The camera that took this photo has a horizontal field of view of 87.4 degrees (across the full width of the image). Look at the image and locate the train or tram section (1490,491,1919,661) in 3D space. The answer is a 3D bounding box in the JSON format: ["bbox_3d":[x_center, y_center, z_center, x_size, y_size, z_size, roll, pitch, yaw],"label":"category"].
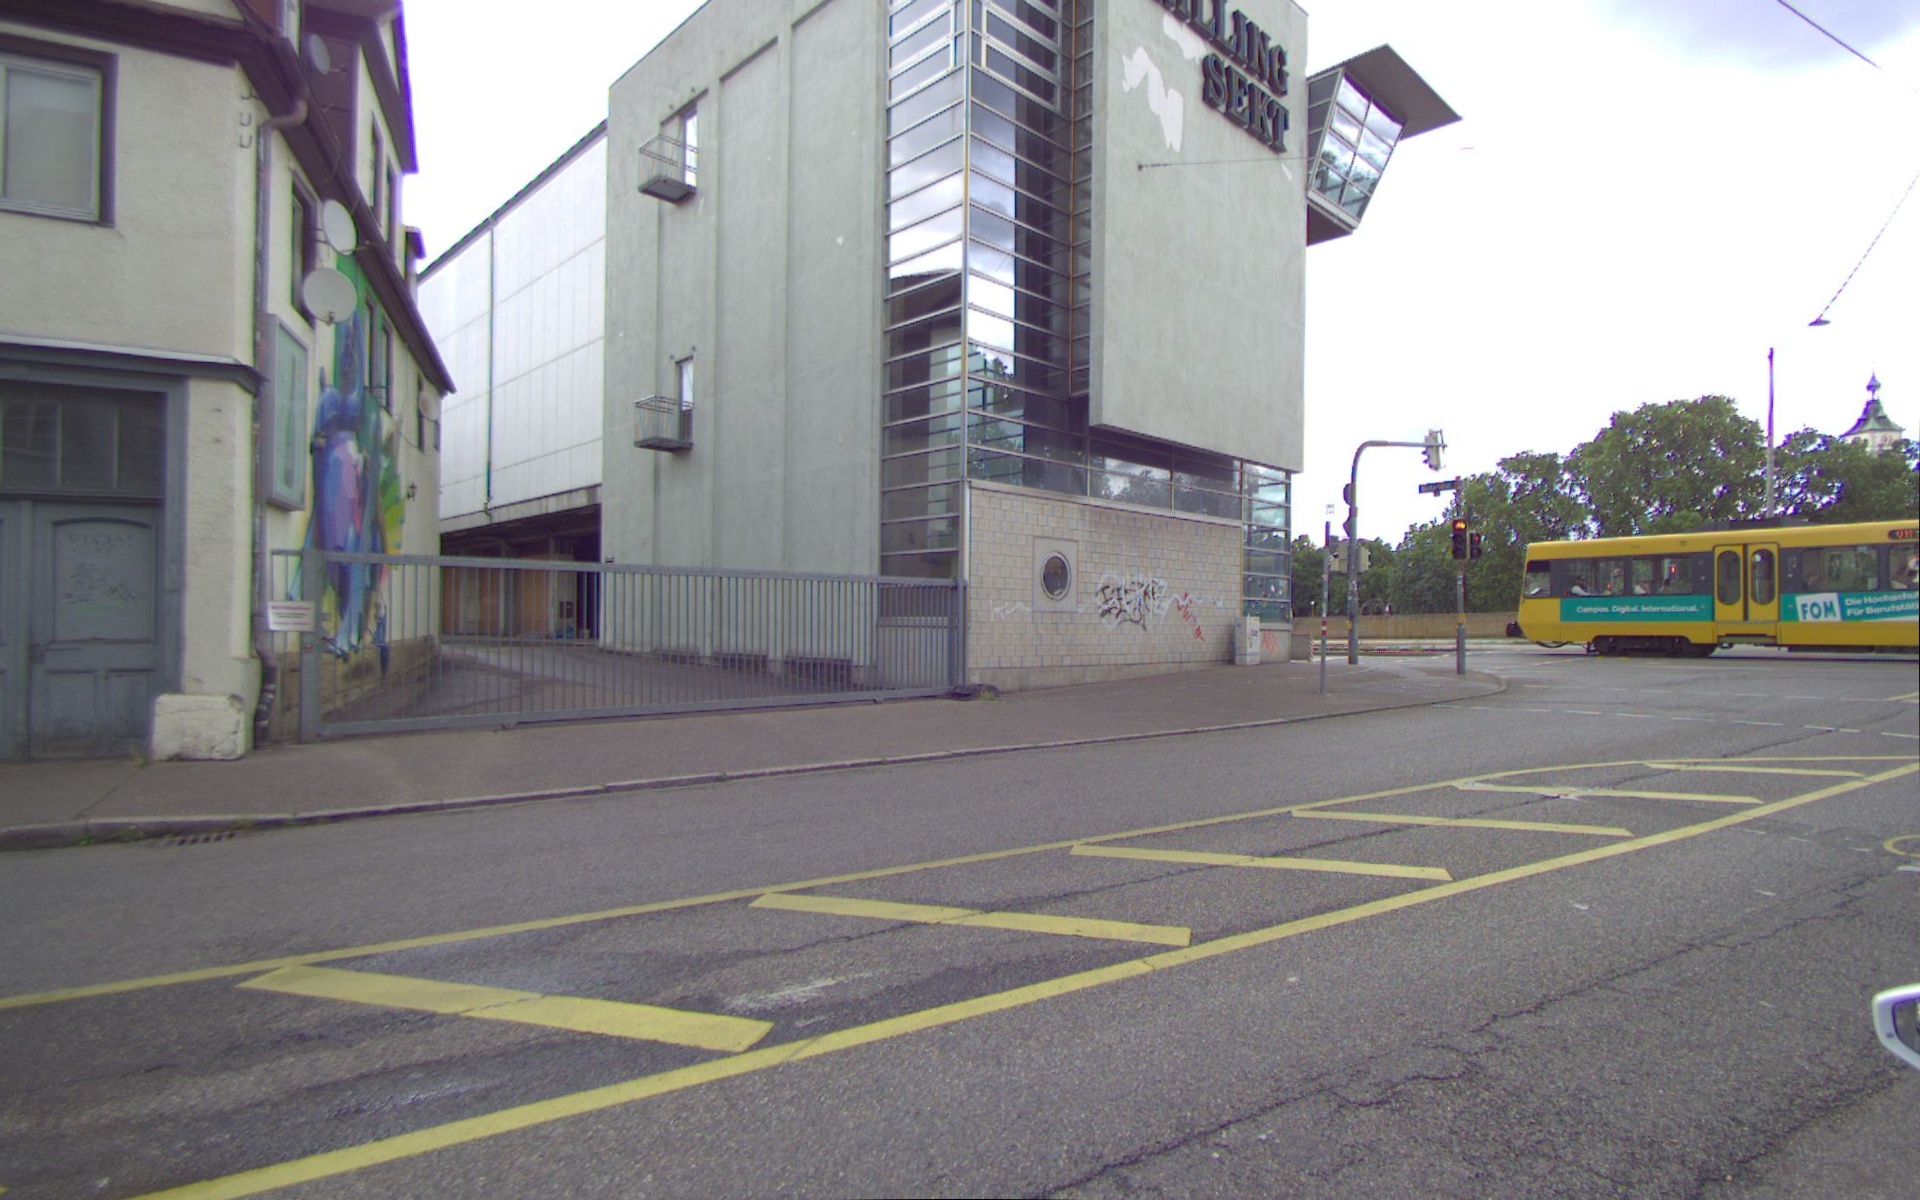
[{"bbox_3d":[23.978,-0.591,25.211,3.281,4.056,19.072,-2,-1,-39],"label":"train or tram section"}]
